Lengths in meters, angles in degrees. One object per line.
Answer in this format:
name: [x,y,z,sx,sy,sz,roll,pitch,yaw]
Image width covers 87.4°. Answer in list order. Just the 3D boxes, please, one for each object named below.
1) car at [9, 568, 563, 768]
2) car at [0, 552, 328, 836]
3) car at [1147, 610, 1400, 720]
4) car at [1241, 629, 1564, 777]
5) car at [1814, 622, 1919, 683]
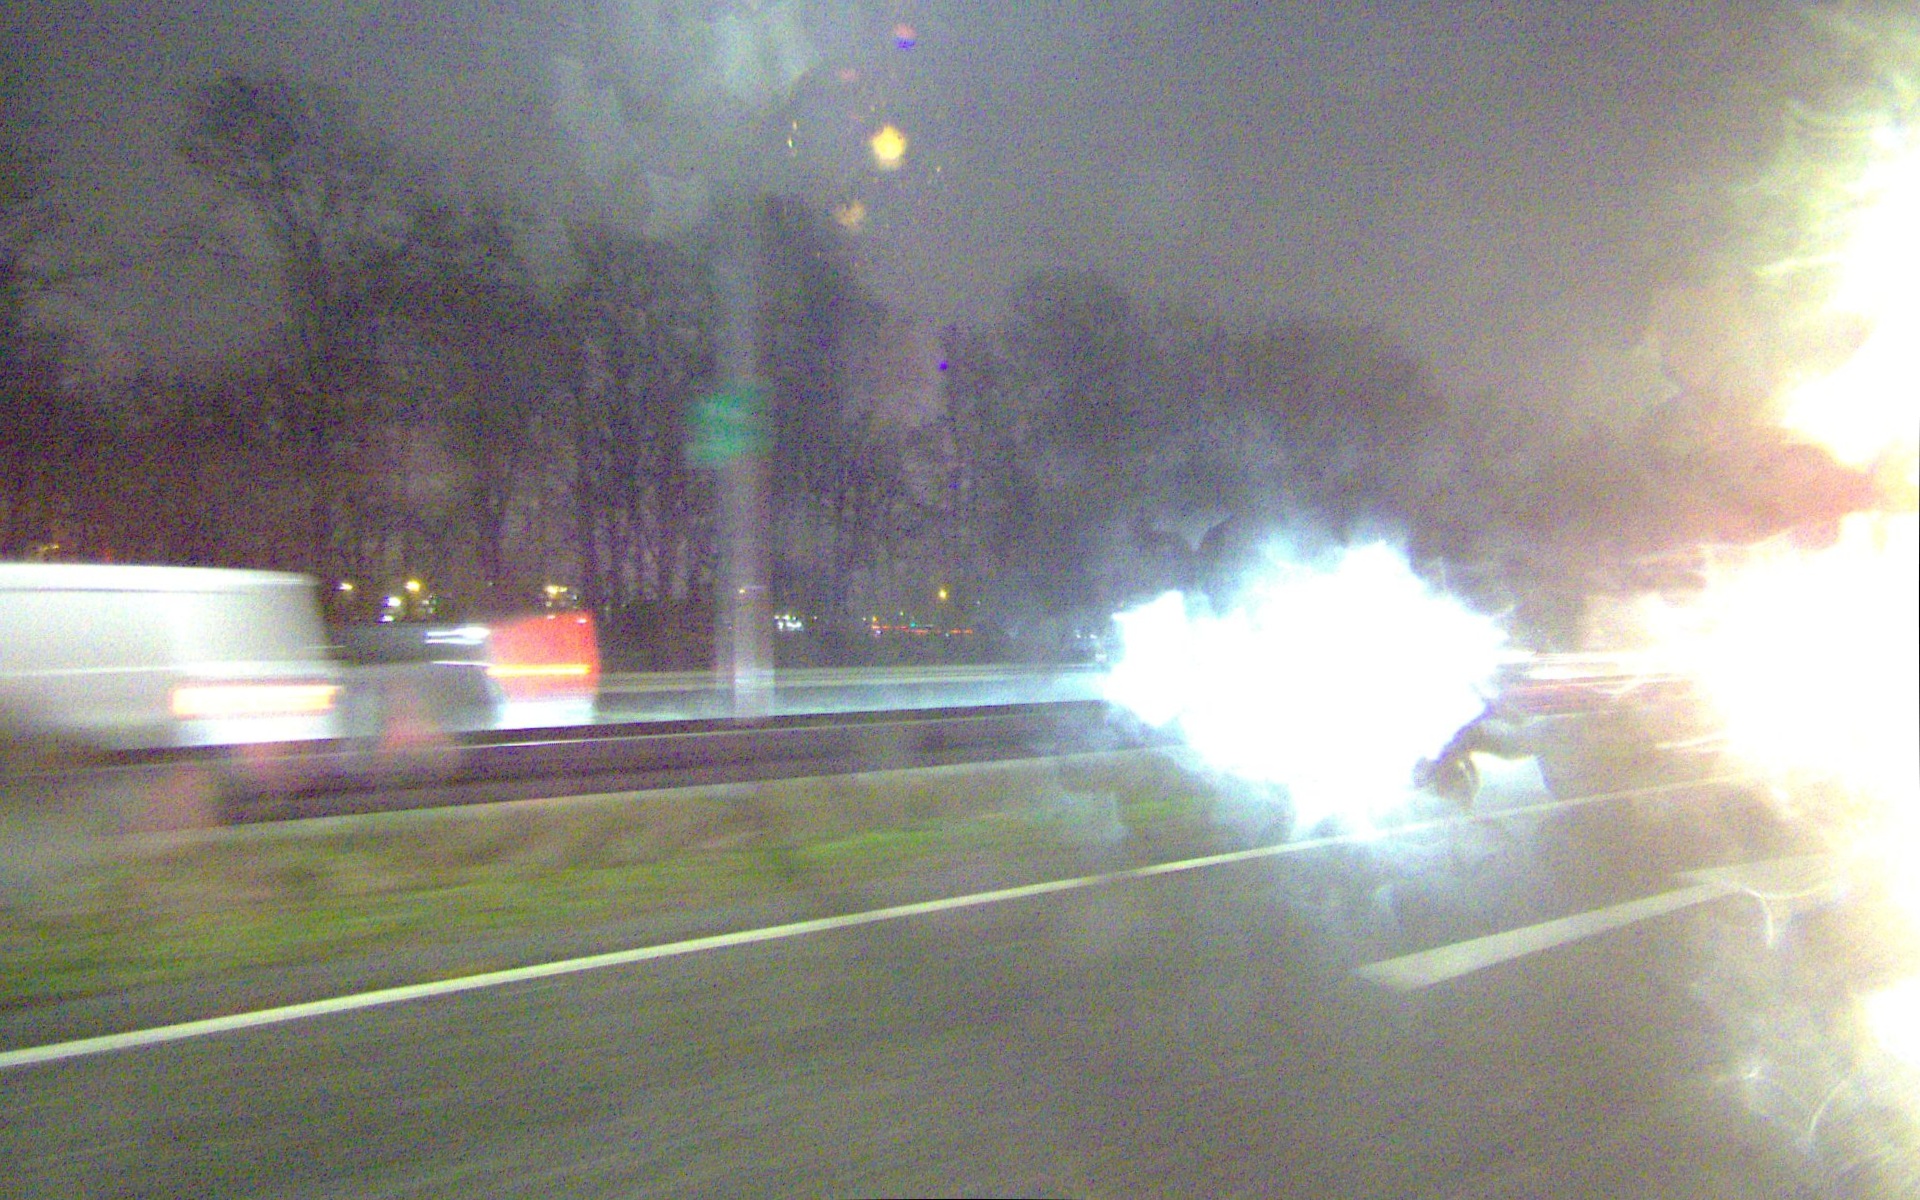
car: [-7.061,0.668,11.119,4.653,1.798,1.983,2,0,-32]
car: [-7.117,0.546,6.857,4.653,1.798,1.983,2,0,-32]
car: [6.008,1.190,19.096,4.653,1.798,1.983,2,0,-32]
car: [6.699,1.438,15.097,4.653,1.798,2.153,2,0,-32]
car: [30.654,1.759,33.496,4.151,1.833,1.984,2,1,-30]
